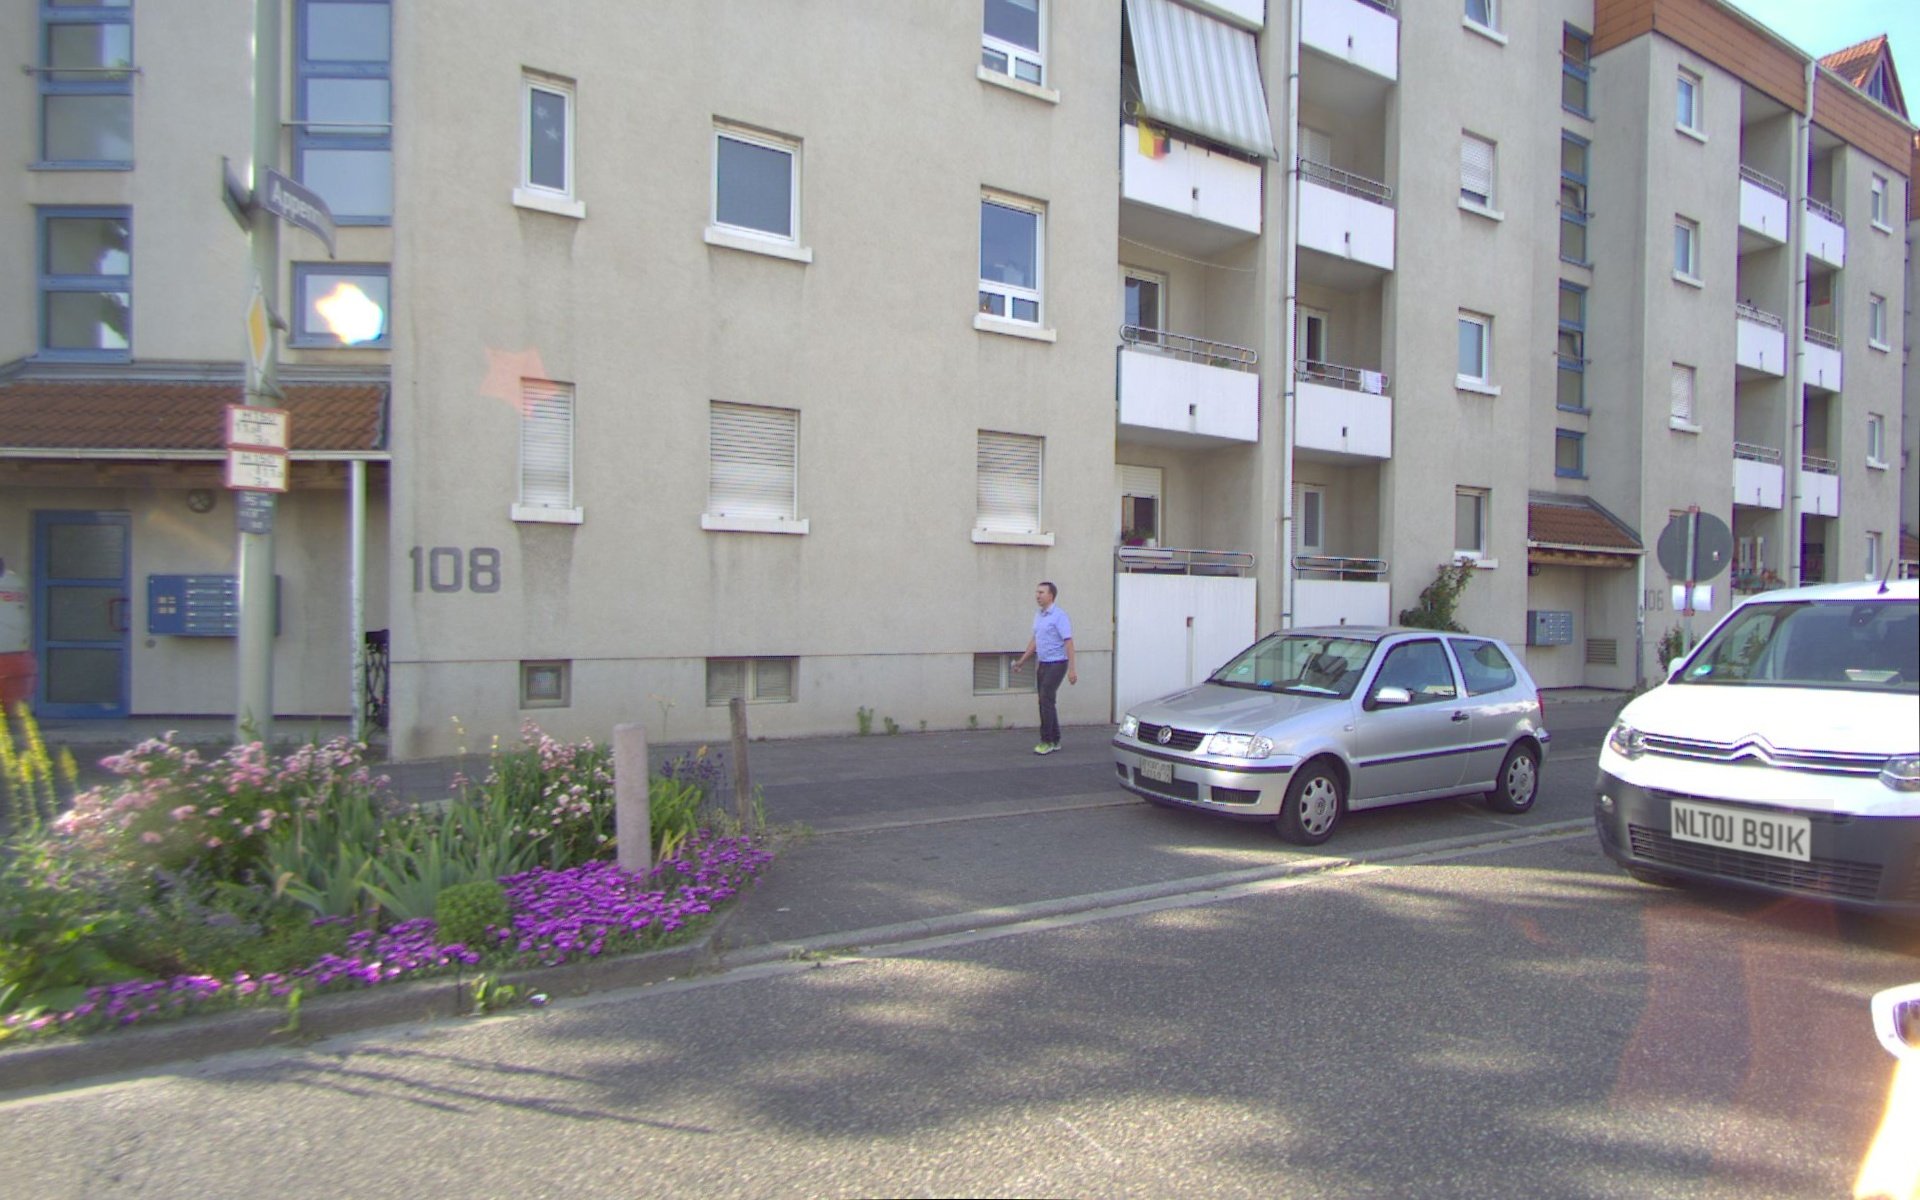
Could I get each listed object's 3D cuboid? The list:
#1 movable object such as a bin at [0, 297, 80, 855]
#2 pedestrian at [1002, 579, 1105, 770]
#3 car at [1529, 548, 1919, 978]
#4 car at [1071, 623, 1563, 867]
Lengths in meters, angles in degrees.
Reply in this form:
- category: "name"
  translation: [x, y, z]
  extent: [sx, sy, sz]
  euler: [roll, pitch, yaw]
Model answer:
- category: "movable object such as a bin"
  translation: [-7.500, -0.151, 5.426]
  extent: [3.856, 3.180, 1.639]
  euler: [1, 0, -31]
- category: "pedestrian"
  translation: [0.936, 0.716, 10.142]
  extent: [0.736, 1.843, 0.715]
  euler: [0, 1, -29]
- category: "car"
  translation: [5.521, 0.730, 5.880]
  extent: [4.286, 1.790, 1.913]
  euler: [1, -2, -30]
- category: "car"
  translation: [2.796, 0.922, 7.691]
  extent: [3.630, 1.414, 1.632]
  euler: [1, 0, -31]
